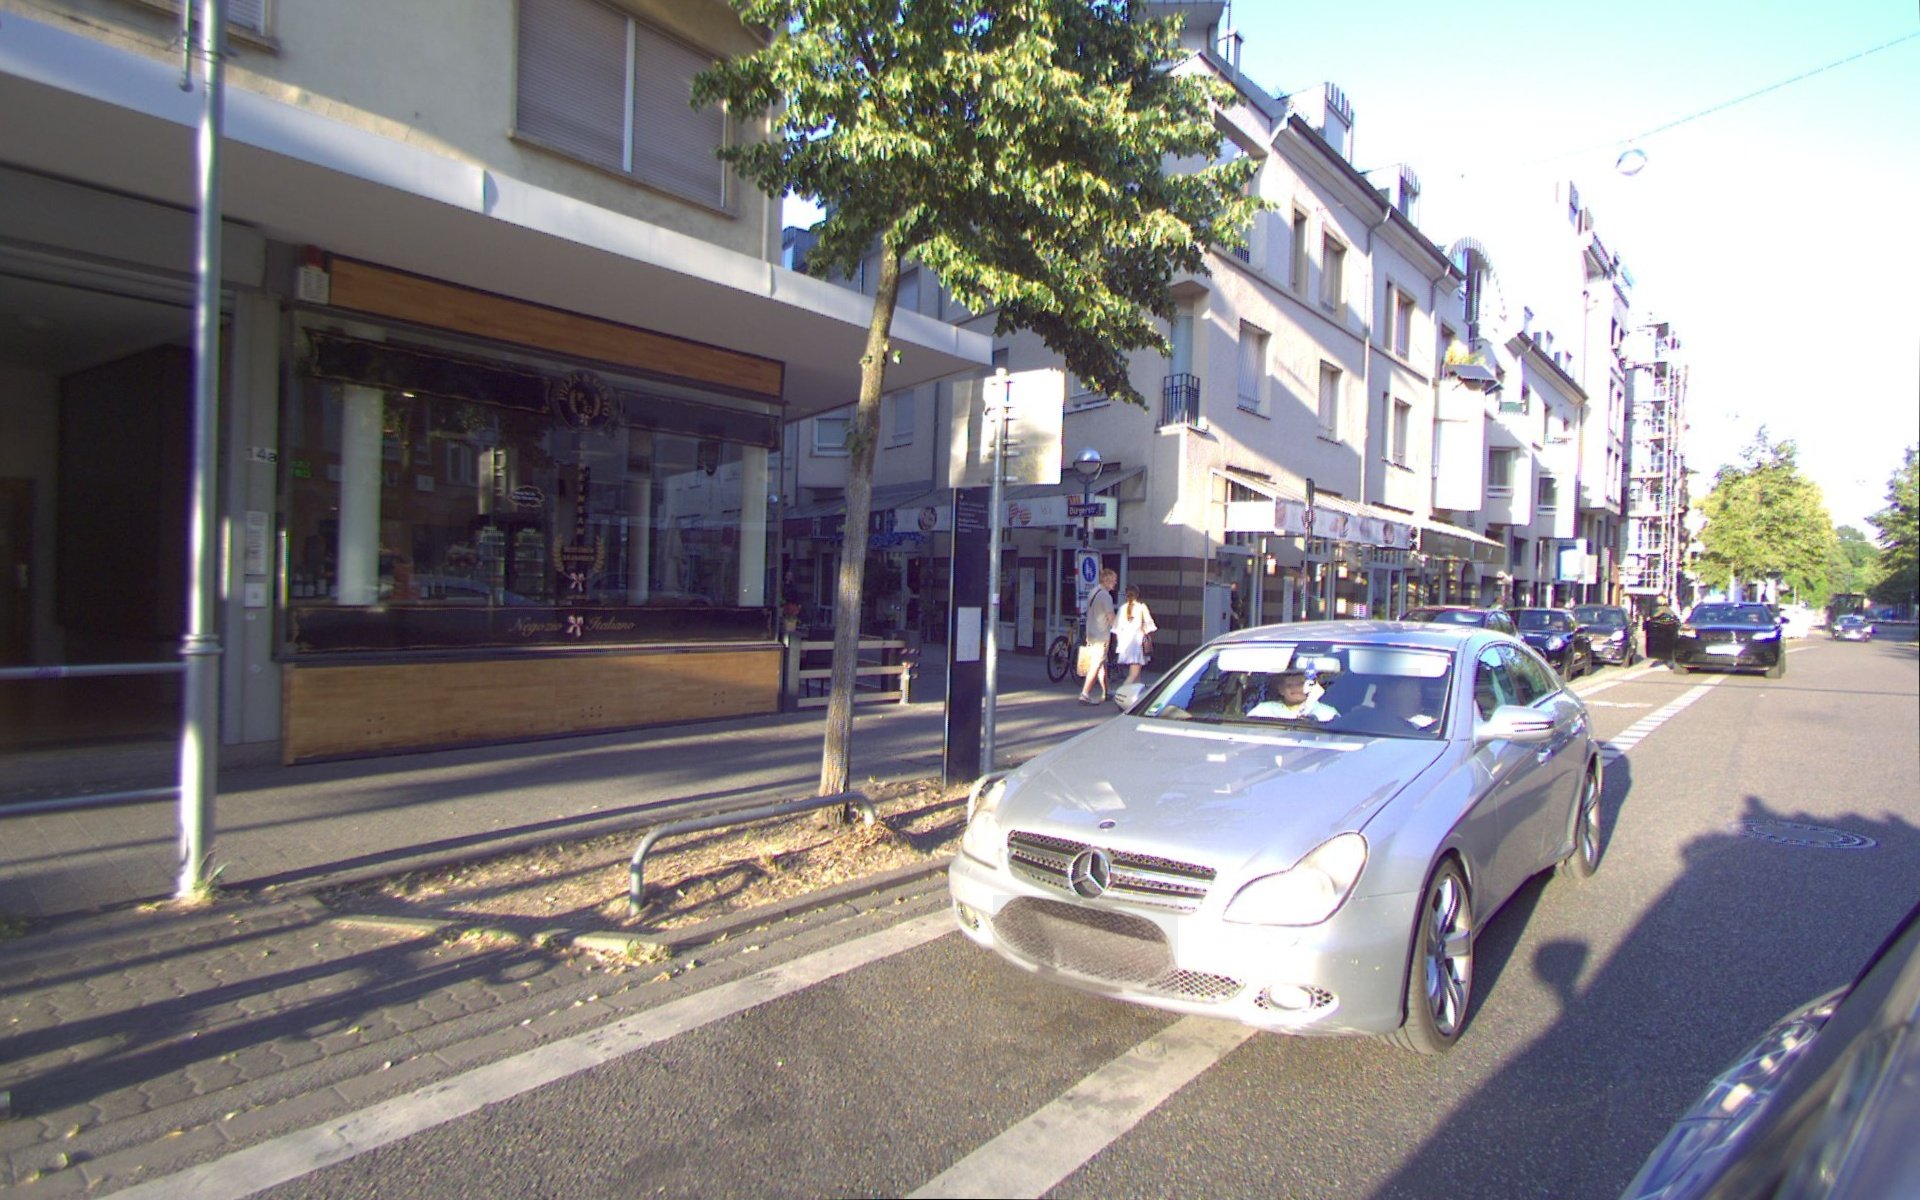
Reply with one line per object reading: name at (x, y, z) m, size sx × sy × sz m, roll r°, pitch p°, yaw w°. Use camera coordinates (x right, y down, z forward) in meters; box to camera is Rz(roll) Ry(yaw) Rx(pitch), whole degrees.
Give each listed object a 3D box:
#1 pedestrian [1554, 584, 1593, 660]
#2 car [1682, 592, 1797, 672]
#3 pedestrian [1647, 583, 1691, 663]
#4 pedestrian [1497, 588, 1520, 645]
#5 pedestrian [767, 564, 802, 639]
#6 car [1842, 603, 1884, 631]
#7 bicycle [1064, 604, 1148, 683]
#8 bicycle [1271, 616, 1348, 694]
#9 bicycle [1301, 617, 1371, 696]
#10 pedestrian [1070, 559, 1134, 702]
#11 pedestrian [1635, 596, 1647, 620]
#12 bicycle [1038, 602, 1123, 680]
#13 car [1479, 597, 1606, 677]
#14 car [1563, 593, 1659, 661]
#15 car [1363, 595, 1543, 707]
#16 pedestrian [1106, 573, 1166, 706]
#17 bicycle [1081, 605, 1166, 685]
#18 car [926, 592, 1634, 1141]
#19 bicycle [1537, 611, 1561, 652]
pedestrian at (14.700, 0.522, 24.249) m, size 0.629 × 1.771 × 0.660 m, roll 3°, pitch 2°, yaw 41°
car at (17.933, 0.670, 23.218) m, size 1.884 × 1.656 × 4.165 m, roll 0°, pitch 0°, yaw 41°
pedestrian at (17.301, 0.553, 24.697) m, size 0.776 × 1.907 × 0.660 m, roll -2°, pitch -2°, yaw 41°
pedestrian at (17.600, 0.519, 32.485) m, size 0.574 × 1.823 × 0.443 m, roll 0°, pitch 0°, yaw 42°
pedestrian at (-4.138, 0.021, 23.811) m, size 0.688 × 1.696 × 0.799 m, roll 2°, pitch 2°, yaw -13°
car at (50.479, 0.943, 56.616) m, size 1.616 × 1.492 × 3.634 m, roll 0°, pitch 0°, yaw 41°
bicycle at (2.247, 0.627, 15.415) m, size 0.290 × 1.118 × 1.859 m, roll 2°, pitch 1°, yaw 41°
bicycle at (5.227, 0.789, 15.073) m, size 0.314 × 1.059 × 1.853 m, roll 3°, pitch 2°, yaw 43°
bicycle at (5.543, 0.807, 14.869) m, size 0.314 × 1.059 × 1.638 m, roll 3°, pitch 2°, yaw 43°
pedestrian at (1.847, 0.379, 13.172) m, size 0.543 × 1.779 × 0.495 m, roll 5°, pitch 3°, yaw 41°
pedestrian at (36.227, 0.436, 53.855) m, size 0.490 × 1.279 × 0.415 m, roll 0°, pitch 0°, yaw 42°
bicycle at (1.896, 0.609, 15.715) m, size 0.320 × 1.118 × 1.851 m, roll 2°, pitch 1°, yaw 41°
car at (12.216, 0.705, 21.120) m, size 1.615 × 1.452 × 3.868 m, roll 3°, pitch 2°, yaw 40°
car at (17.207, 0.672, 26.673) m, size 1.615 × 1.612 × 3.868 m, roll 2°, pitch 1°, yaw 40°
car at (7.761, 0.694, 15.762) m, size 1.587 × 1.451 × 3.868 m, roll 4°, pitch 2°, yaw 40°
pedestrian at (2.230, 0.487, 12.805) m, size 0.519 × 1.612 × 0.402 m, roll 5°, pitch 3°, yaw 41°
bicycle at (2.479, 0.643, 15.196) m, size 0.320 × 1.118 × 1.851 m, roll 2°, pitch 1°, yaw 41°
car at (1.992, 0.685, 4.997) m, size 1.740 × 1.418 × 4.572 m, roll 1°, pitch 1°, yaw 40°
bicycle at (16.298, 0.862, 27.991) m, size 0.295 × 1.099 × 1.441 m, roll 1°, pitch 1°, yaw 41°
